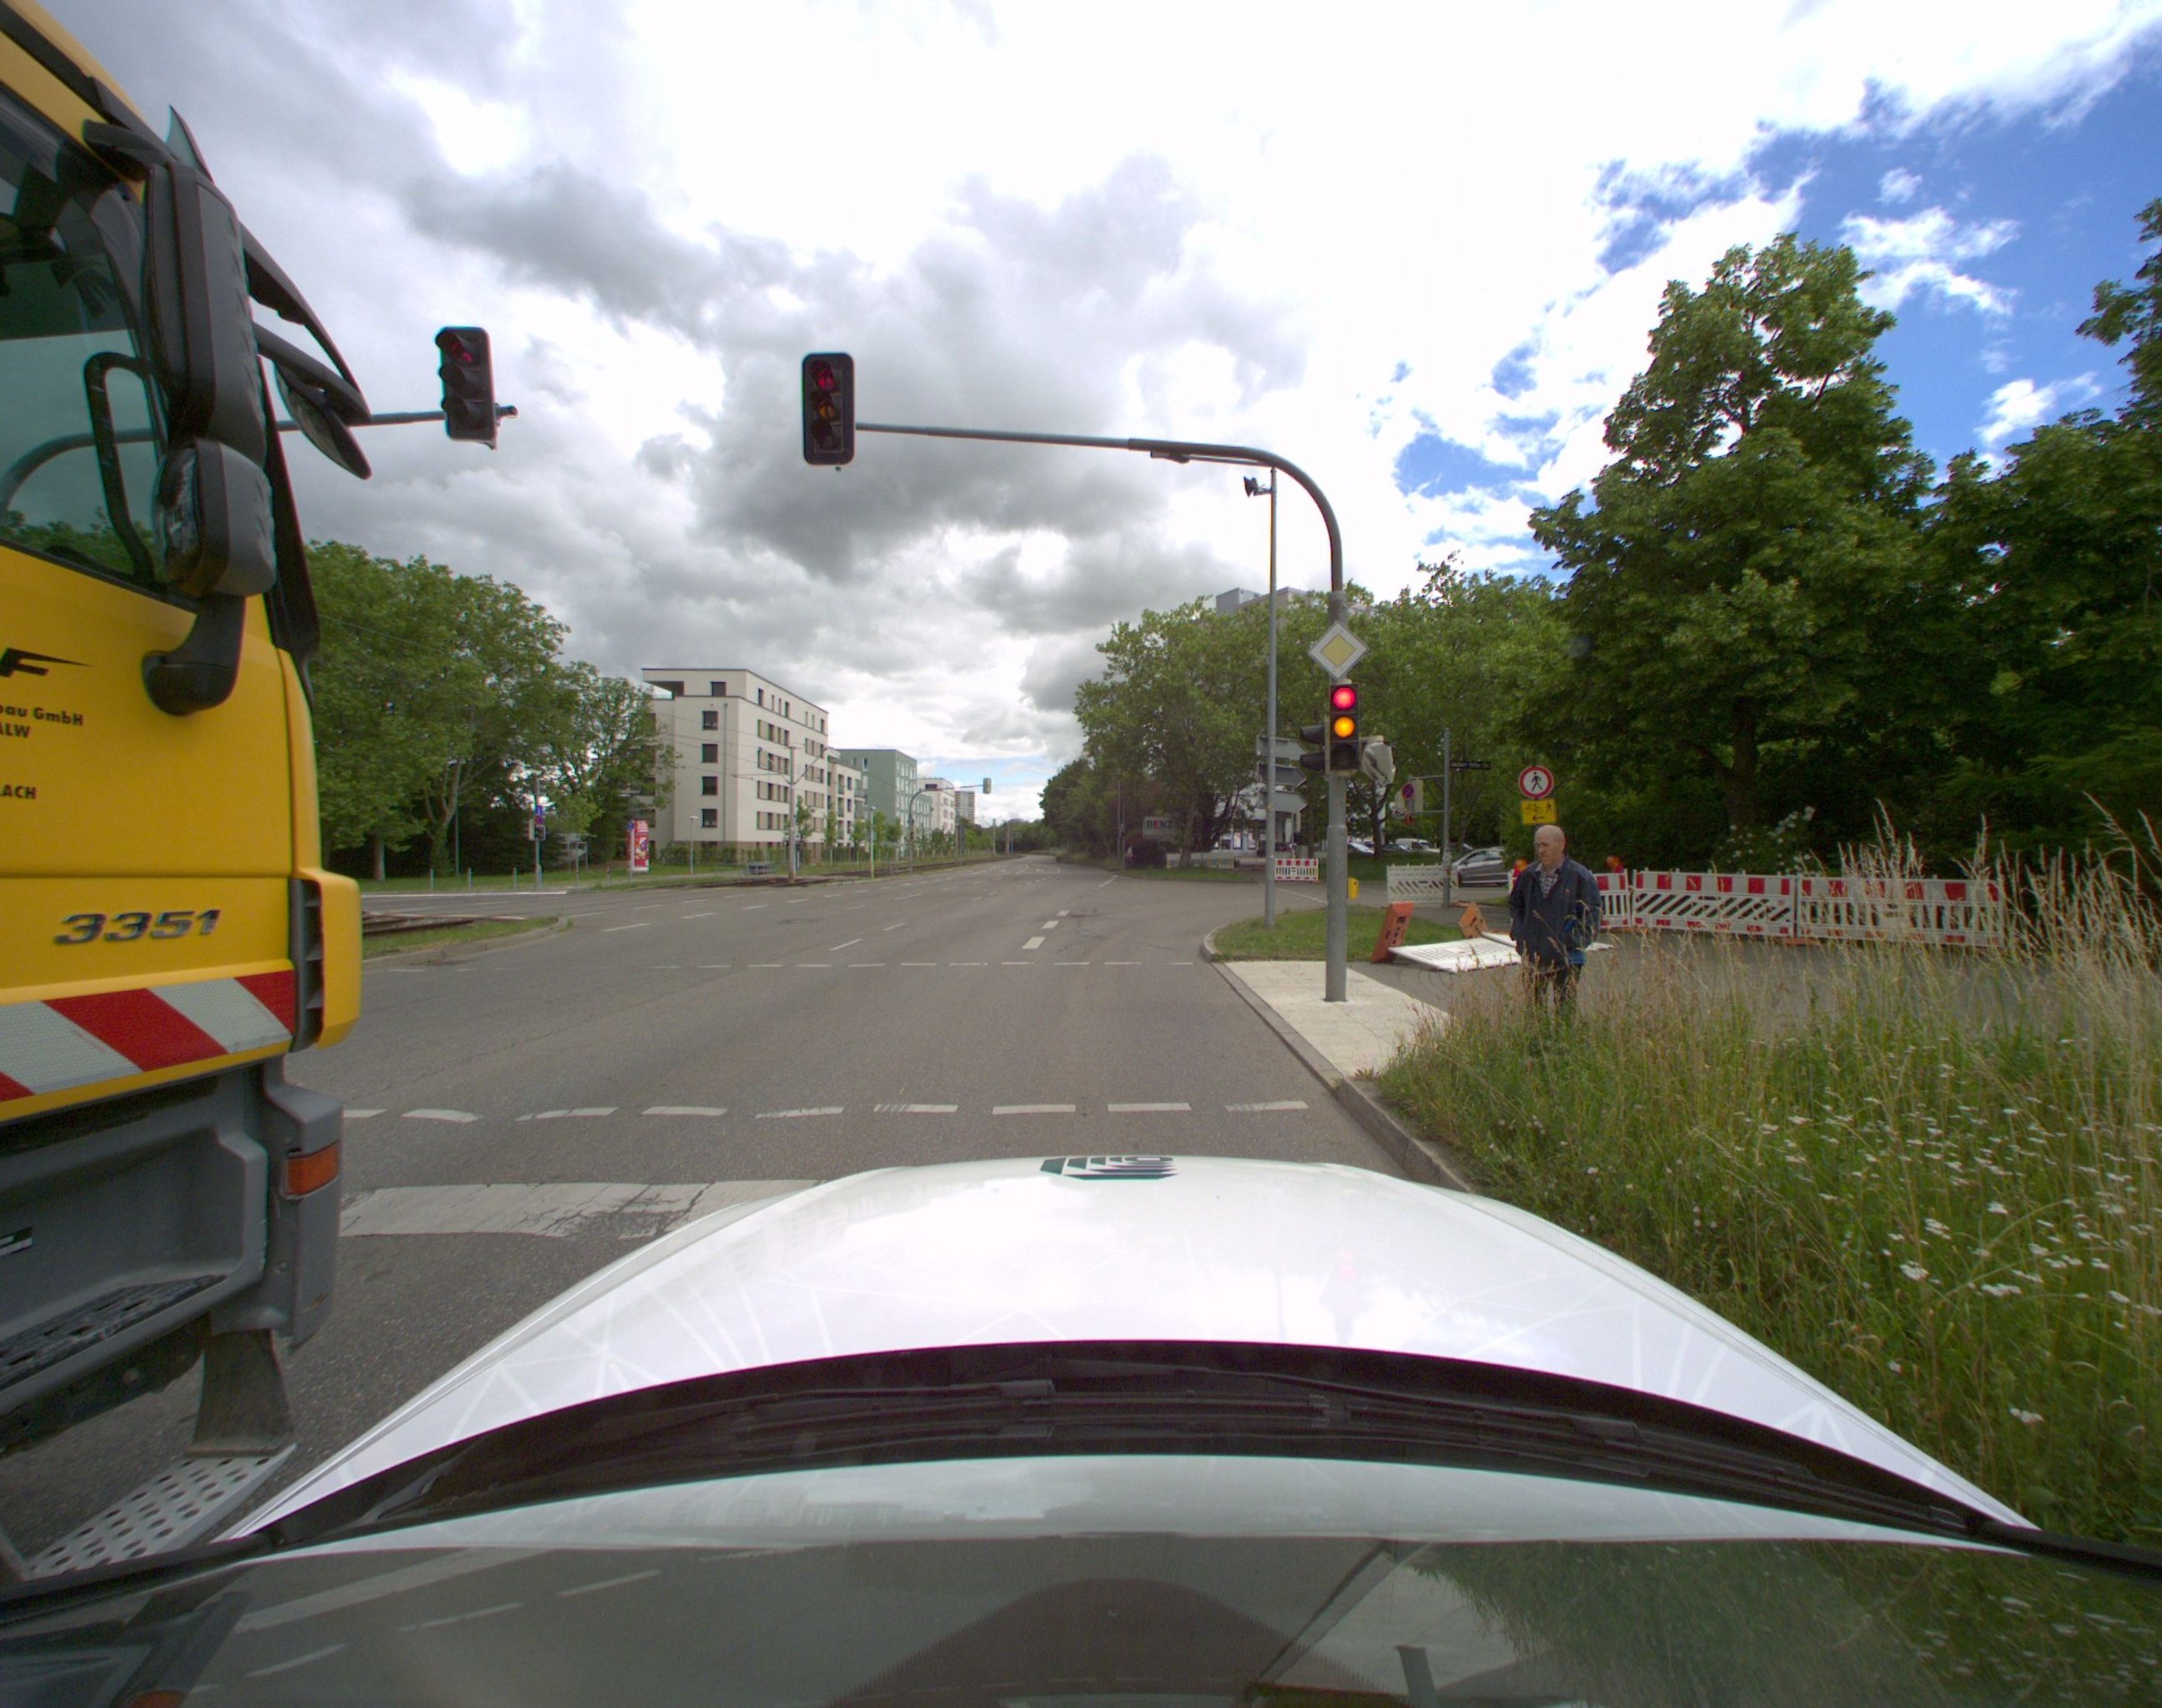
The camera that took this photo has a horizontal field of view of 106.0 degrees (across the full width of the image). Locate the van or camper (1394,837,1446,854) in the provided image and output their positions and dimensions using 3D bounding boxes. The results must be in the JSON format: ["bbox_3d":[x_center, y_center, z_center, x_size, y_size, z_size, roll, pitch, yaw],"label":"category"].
[{"bbox_3d":[27.506,-0.660,66.211,1.523,1.356,3.738,0,-1,-31],"label":"van or camper"}]

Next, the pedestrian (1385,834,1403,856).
[{"bbox_3d":[26.913,-0.798,70.022,1.068,1.871,1.060,0,-1,0],"label":"pedestrian"}]

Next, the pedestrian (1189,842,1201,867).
[{"bbox_3d":[6.989,0.020,49.952,0.693,1.489,0.722,-1,-1,8],"label":"pedestrian"}]

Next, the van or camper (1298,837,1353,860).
[{"bbox_3d":[18.480,-0.386,61.733,1.849,1.684,3.967,-1,0,-25],"label":"van or camper"}]

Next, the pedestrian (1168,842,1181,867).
[{"bbox_3d":[5.778,0.026,50.324,0.694,1.489,0.688,0,-1,3],"label":"pedestrian"}]

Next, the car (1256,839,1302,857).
[{"bbox_3d":[17.521,-0.499,72.282,1.736,1.500,4.234,0,-1,-24],"label":"car"}]

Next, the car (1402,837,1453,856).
[{"bbox_3d":[29.021,-0.605,68.350,1.489,1.465,3.856,0,-1,-29],"label":"car"}]

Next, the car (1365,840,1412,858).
[{"bbox_3d":[24.320,-0.380,64.530,1.488,1.404,3.378,0,-1,-27],"label":"car"}]

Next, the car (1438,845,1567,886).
[{"bbox_3d":[17.162,0.478,33.311,4.379,1.586,1.774,0,-1,2],"label":"car"}]

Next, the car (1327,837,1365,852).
[{"bbox_3d":[25.314,-0.901,77.813,1.489,1.404,3.377,0,-1,-29],"label":"car"}]

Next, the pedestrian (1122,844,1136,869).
[{"bbox_3d":[3.078,0.174,51.891,0.845,1.586,0.796,0,-1,0],"label":"pedestrian"}]

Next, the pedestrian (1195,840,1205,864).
[{"bbox_3d":[7.587,-0.106,51.881,0.649,1.539,0.775,-1,-1,9],"label":"pedestrian"}]

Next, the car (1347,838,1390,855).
[{"bbox_3d":[28.024,-0.775,79.407,1.677,1.634,3.787,0,1,-28],"label":"car"}]

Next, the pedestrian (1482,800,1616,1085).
[{"bbox_3d":[3.197,0.536,5.570,0.719,1.740,0.962,-1,0,31],"label":"pedestrian"}]
